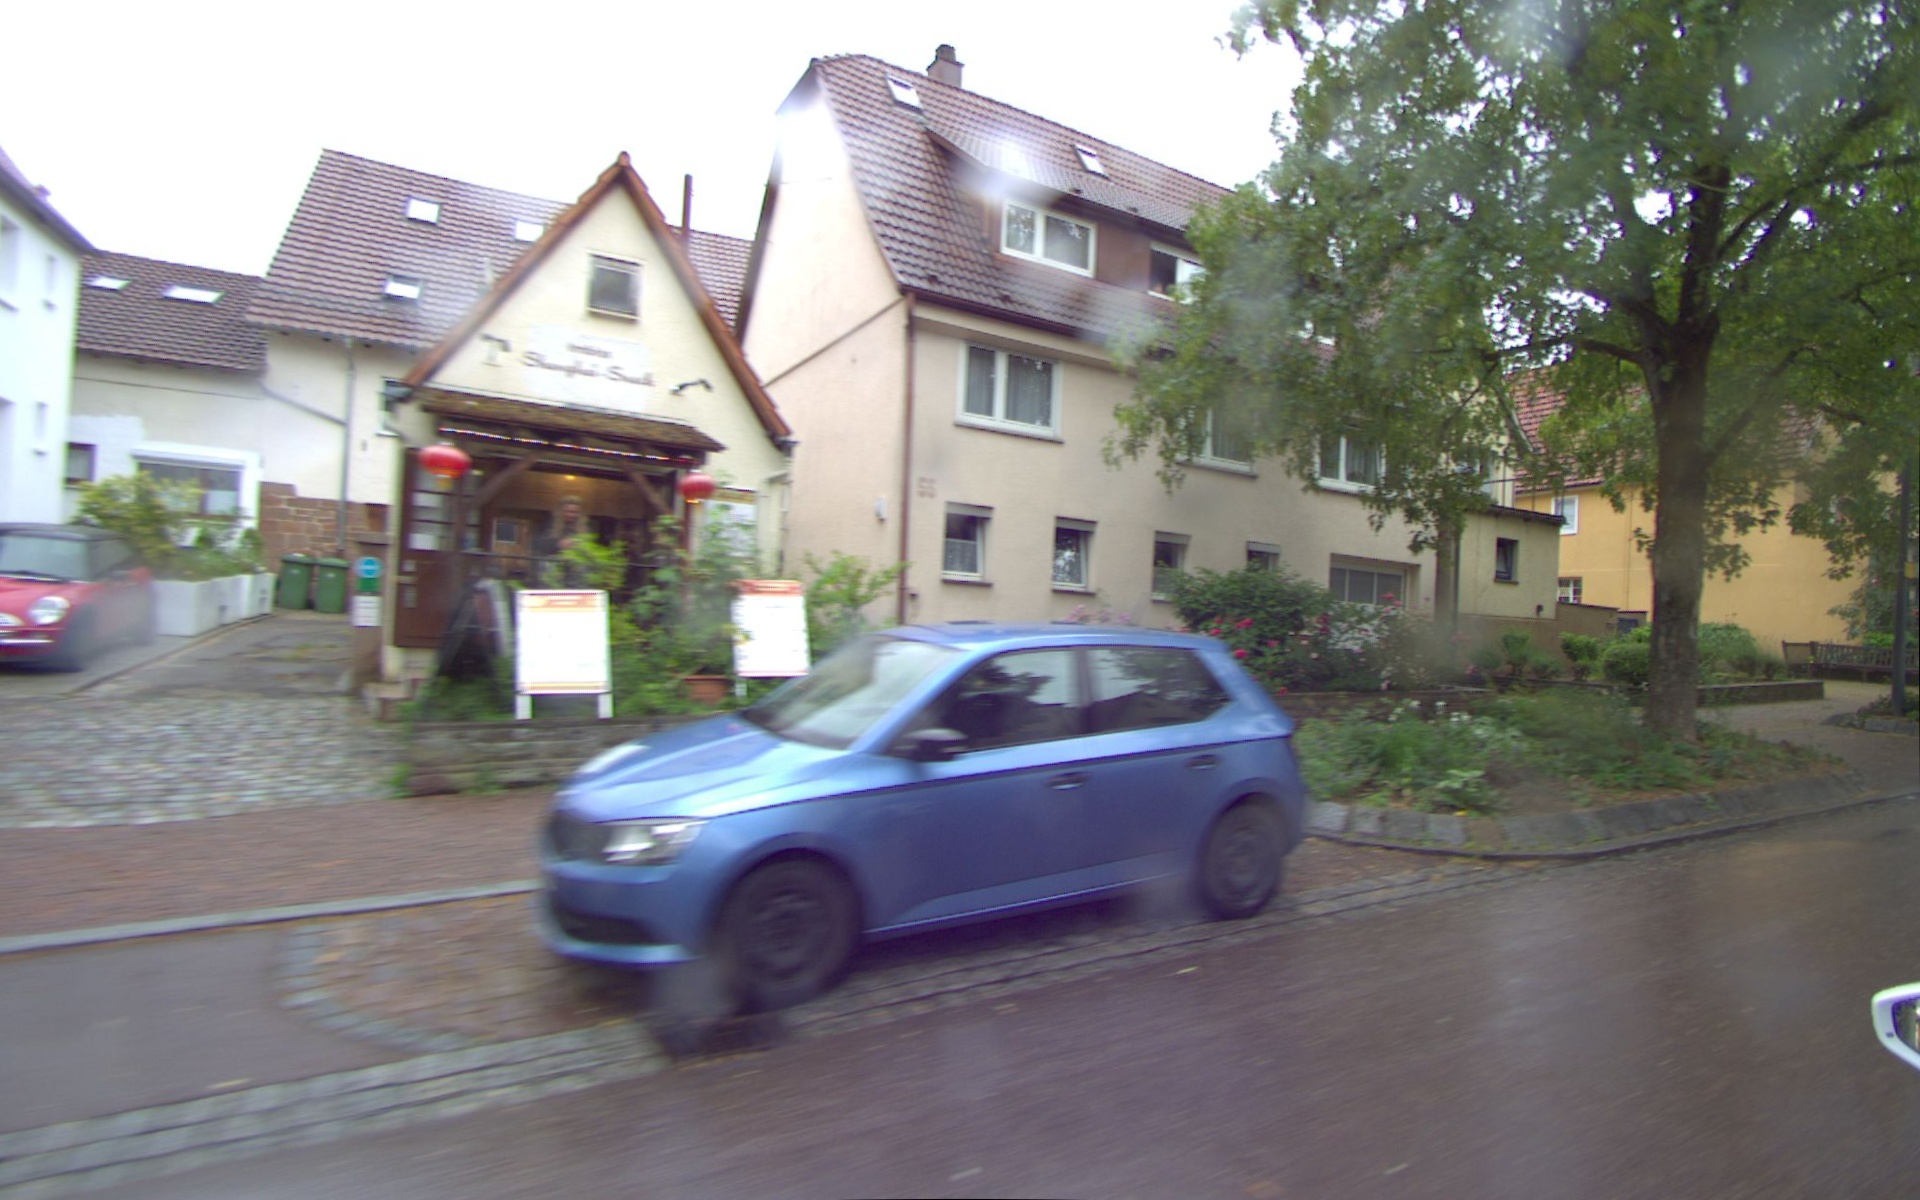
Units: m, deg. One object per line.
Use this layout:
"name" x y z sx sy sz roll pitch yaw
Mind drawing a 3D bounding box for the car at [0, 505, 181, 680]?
"car" -10.214 -0.189 11.024 1.867 1.516 3.695 4 3 -27

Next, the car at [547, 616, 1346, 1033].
"car" -0.002 0.838 5.184 3.750 1.414 1.741 2 0 -30
